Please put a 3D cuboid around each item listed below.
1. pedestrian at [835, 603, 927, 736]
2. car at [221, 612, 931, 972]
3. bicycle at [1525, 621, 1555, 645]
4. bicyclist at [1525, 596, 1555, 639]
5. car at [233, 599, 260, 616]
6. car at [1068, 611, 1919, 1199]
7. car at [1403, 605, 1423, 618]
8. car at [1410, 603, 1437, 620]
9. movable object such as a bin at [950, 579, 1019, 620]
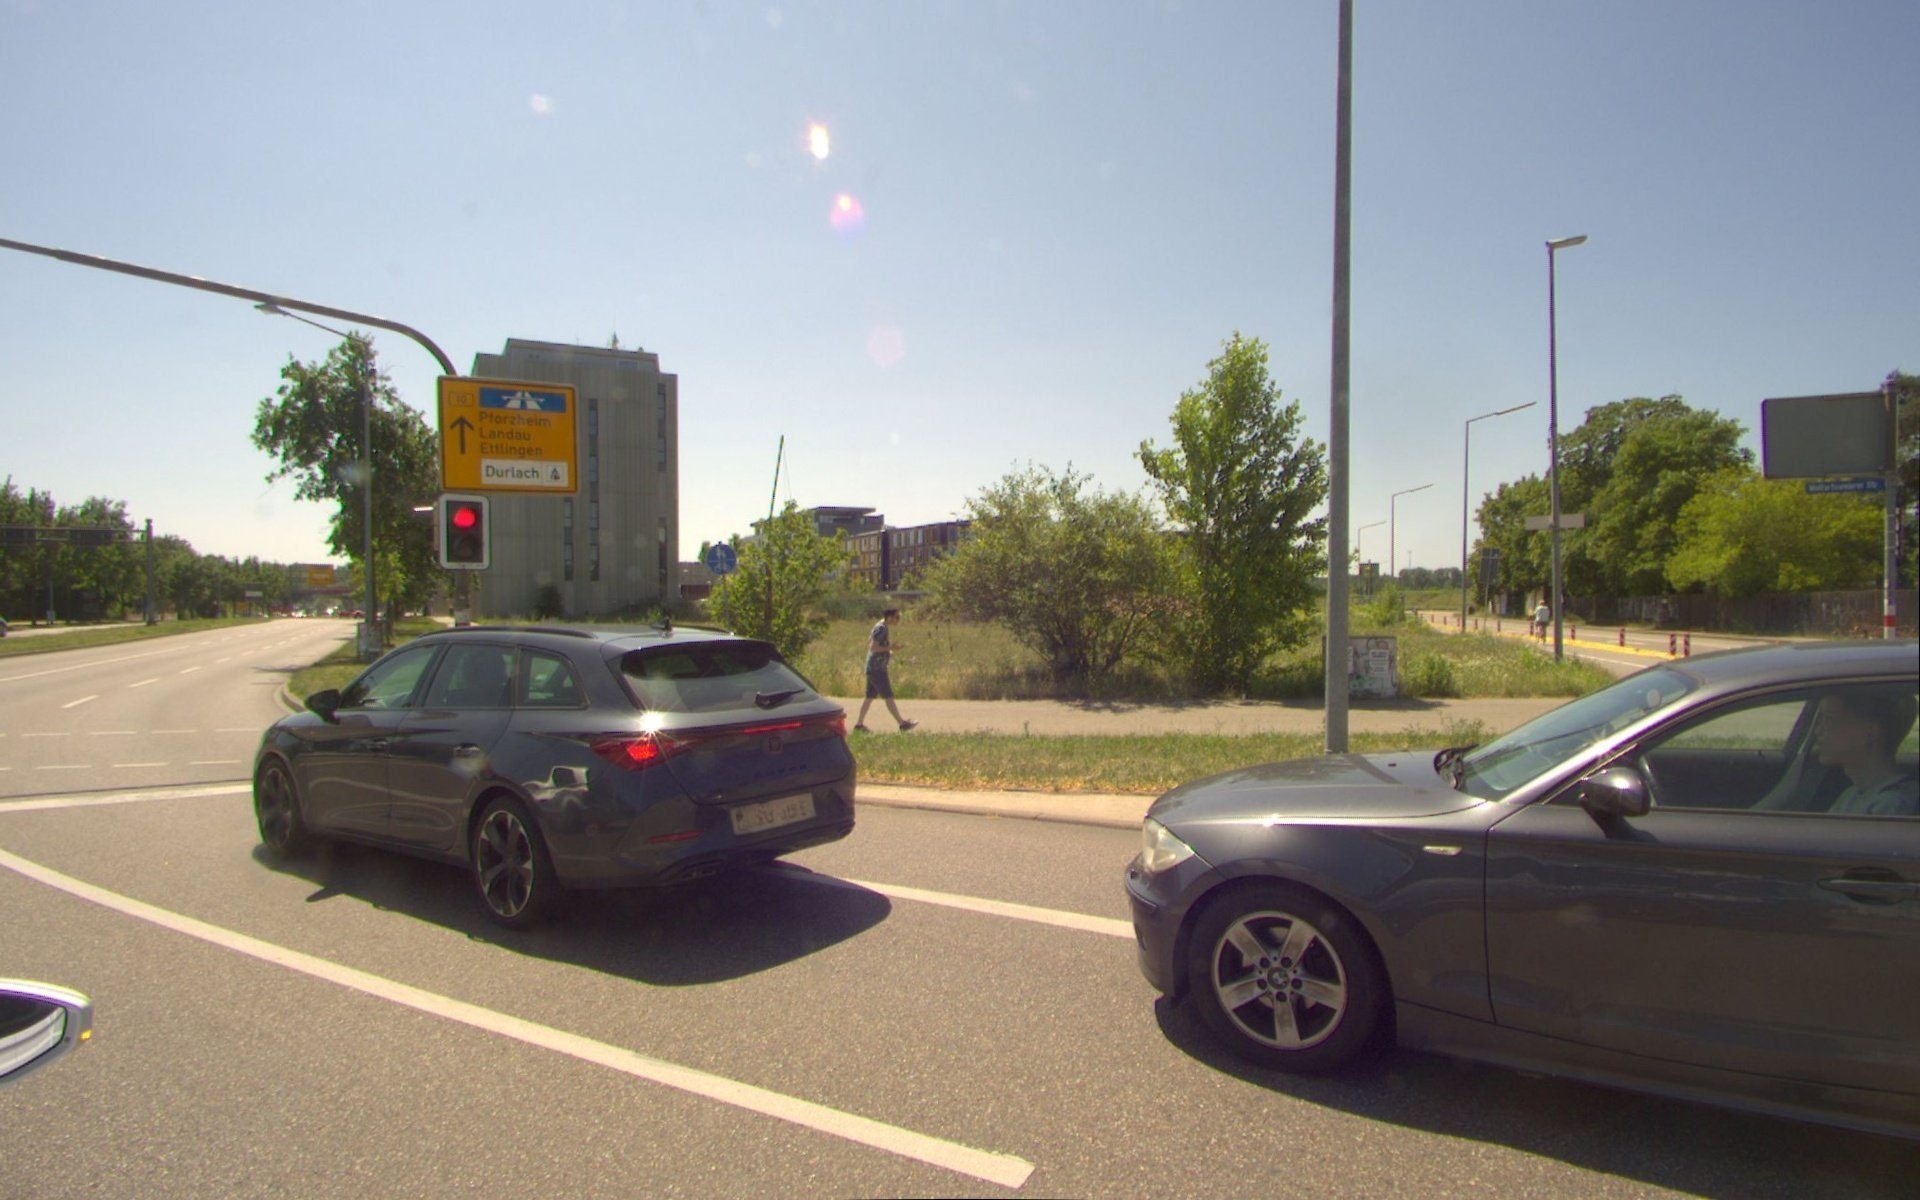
[{"bbox_3d":[-1.043,0.880,13.194,0.942,1.659,0.753,-2,1,-29],"label":"pedestrian"},{"bbox_3d":[-2.519,0.805,6.155,4.395,1.437,1.988,0,0,35],"label":"car"},{"bbox_3d":[23.152,1.306,39.991,0.617,0.891,1.873,-1,0,17],"label":"bicycle"},{"bbox_3d":[23.210,0.689,40.063,0.735,1.662,1.162,0,0,15],"label":"bicyclist"},{"bbox_3d":[-74.051,0.775,103.945,1.780,1.714,4.123,-2,0,-28],"label":"car"},{"bbox_3d":[2.554,0.762,3.325,4.020,1.421,1.745,0,-1,31],"label":"car"},{"bbox_3d":[55.850,1.412,123.465,1.728,1.565,3.689,0,0,16],"label":"car"},{"bbox_3d":[42.218,1.057,91.238,1.728,1.565,3.689,0,0,16],"label":"car"},{"bbox_3d":[2.135,-0.048,83.740,2.770,3.190,7.577,-1,0,26],"label":"movable object such as a bin"}]
